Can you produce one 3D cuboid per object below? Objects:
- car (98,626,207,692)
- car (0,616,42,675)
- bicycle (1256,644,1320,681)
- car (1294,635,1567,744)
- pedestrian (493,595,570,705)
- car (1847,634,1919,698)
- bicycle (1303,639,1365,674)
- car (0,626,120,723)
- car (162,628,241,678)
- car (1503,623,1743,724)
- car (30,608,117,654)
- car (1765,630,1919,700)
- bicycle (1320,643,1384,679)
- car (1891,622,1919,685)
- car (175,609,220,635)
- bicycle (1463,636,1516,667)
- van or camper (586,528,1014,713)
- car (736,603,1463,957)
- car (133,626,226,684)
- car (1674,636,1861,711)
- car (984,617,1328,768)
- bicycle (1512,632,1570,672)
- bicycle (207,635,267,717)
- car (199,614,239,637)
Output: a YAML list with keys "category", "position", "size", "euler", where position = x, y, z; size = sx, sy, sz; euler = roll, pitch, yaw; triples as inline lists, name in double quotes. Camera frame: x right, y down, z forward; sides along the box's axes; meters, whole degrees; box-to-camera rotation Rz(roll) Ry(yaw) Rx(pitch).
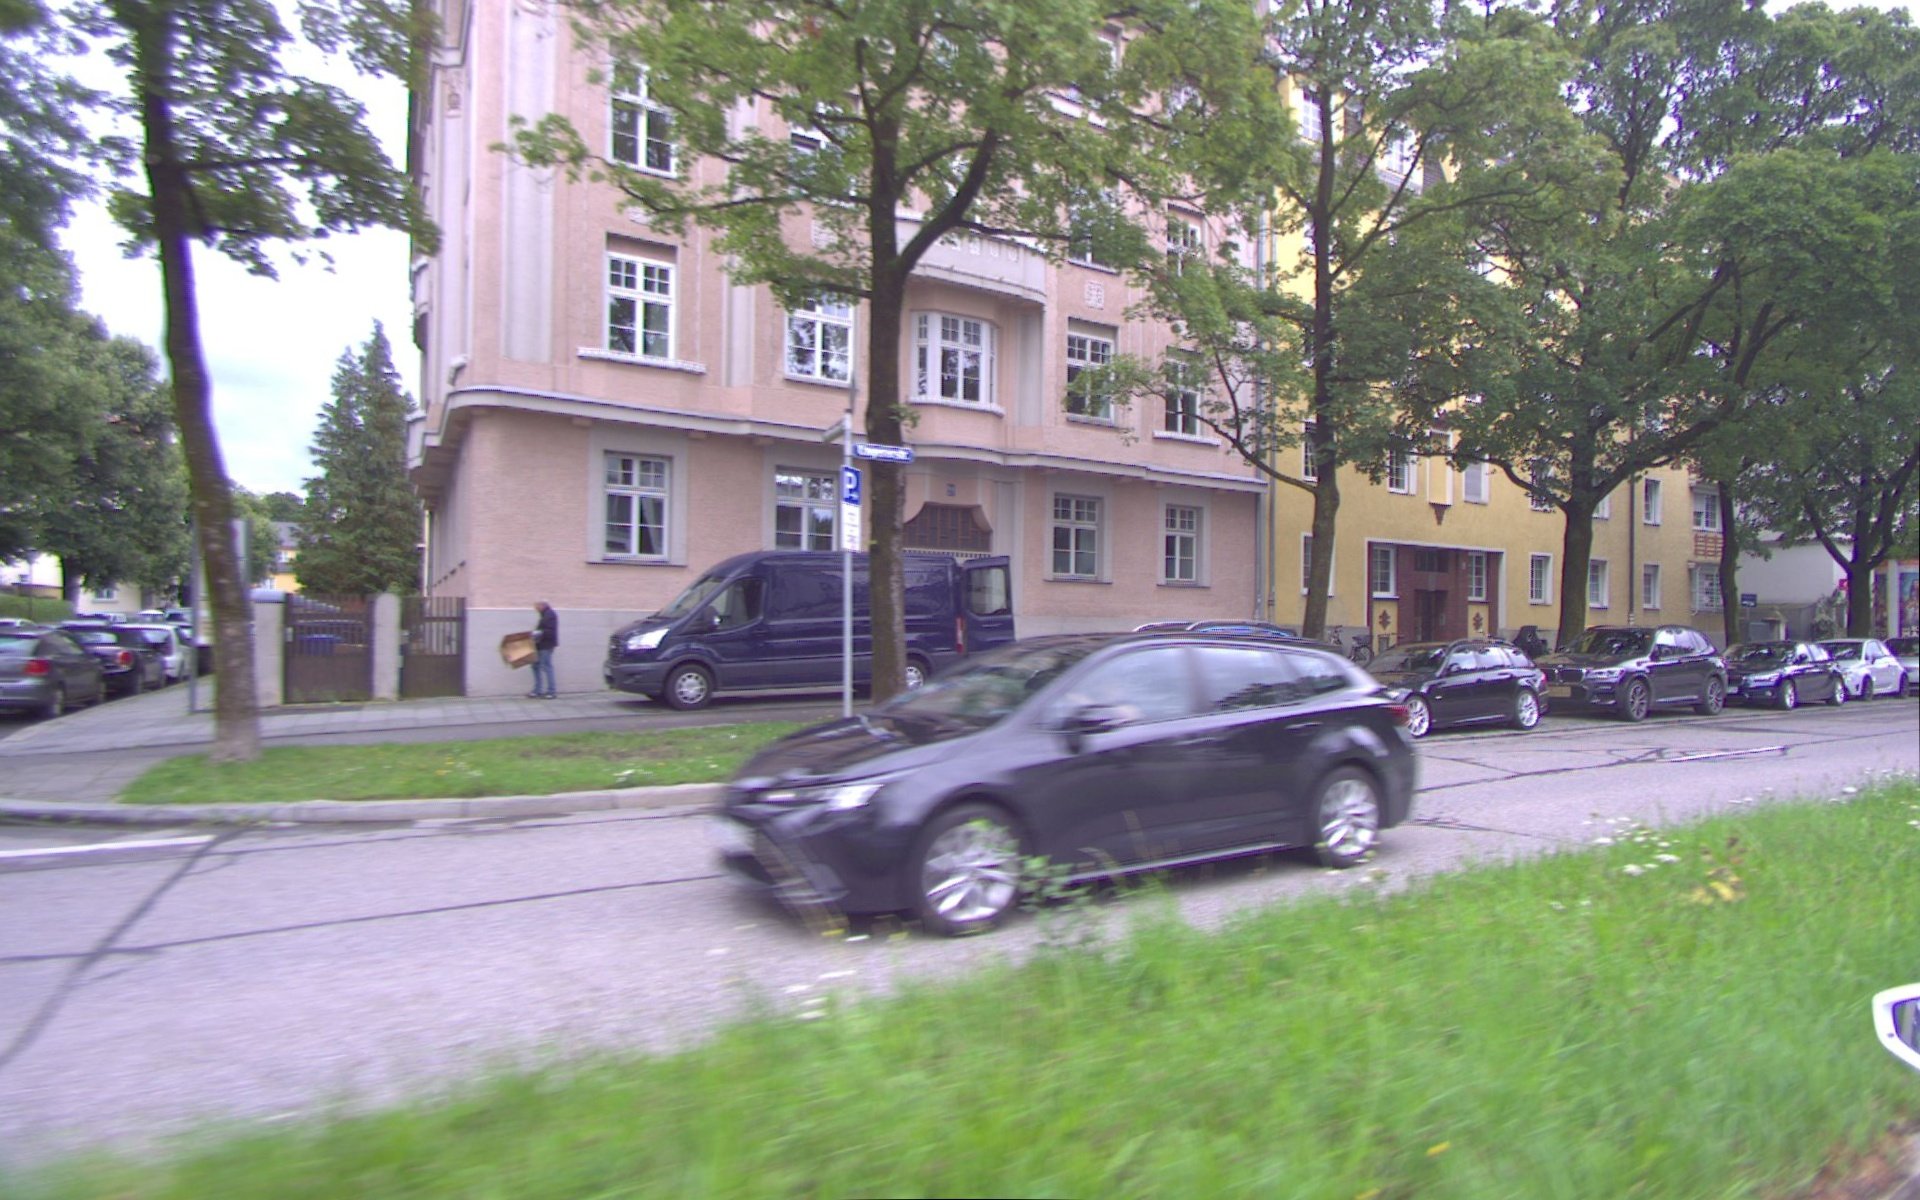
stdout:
- category: "car"
  position: [-19.805, 1.396, 24.759]
  size: [1.595, 1.470, 3.498]
  euler: [1, -1, -31]
- category: "car"
  position: [-29.228, 1.308, 30.060]
  size: [1.775, 1.669, 3.967]
  euler: [1, -1, -31]
- category: "bicycle"
  position: [8.654, 1.633, 26.498]
  size: [1.908, 0.911, 0.481]
  euler: [1, -1, -31]
- category: "car"
  position: [7.447, 1.302, 15.771]
  size: [4.440, 1.474, 1.684]
  euler: [1, -1, -30]
- category: "pedestrian"
  position: [-7.019, 0.804, 16.446]
  size: [1.070, 1.733, 0.745]
  euler: [1, -1, -30]
- category: "car"
  position: [25.055, 1.709, 26.525]
  size: [2.977, 1.578, 1.717]
  euler: [1, -1, -32]
- category: "bicycle"
  position: [10.281, 1.543, 27.593]
  size: [1.908, 0.911, 0.539]
  euler: [1, -1, -31]
- category: "car"
  position: [-15.253, 1.141, 16.303]
  size: [1.890, 1.389, 3.677]
  euler: [1, -1, -31]
- category: "car"
  position: [-24.485, 1.678, 32.532]
  size: [1.636, 1.470, 3.498]
  euler: [1, -1, -31]
- category: "car"
  position: [12.426, 1.292, 18.748]
  size: [4.714, 1.667, 1.870]
  euler: [1, -1, -30]
- category: "car"
  position: [-33.974, 1.156, 38.608]
  size: [1.775, 1.669, 3.967]
  euler: [1, -1, -31]
- category: "car"
  position: [21.741, 1.549, 24.718]
  size: [4.009, 1.582, 1.718]
  euler: [1, -1, -30]
- category: "bicycle"
  position: [10.574, 1.629, 27.070]
  size: [1.908, 0.911, 0.539]
  euler: [1, -1, -31]
- category: "car"
  position: [28.740, 1.511, 28.735]
  size: [4.711, 1.751, 1.802]
  euler: [1, -1, -30]
- category: "car"
  position: [-46.598, 1.339, 61.457]
  size: [1.775, 1.504, 3.967]
  euler: [1, -1, -31]
- category: "bicycle"
  position: [16.441, 1.587, 31.157]
  size: [1.908, 0.911, 0.539]
  euler: [1, -1, -31]
- category: "van or camper"
  position: [-2.542, 0.361, 16.951]
  size: [6.771, 2.613, 2.334]
  euler: [1, -1, -31]
- category: "car"
  position: [0.963, 0.864, 6.224]
  size: [4.272, 1.526, 1.803]
  euler: [1, -4, -30]
- category: "car"
  position: [-21.935, 1.496, 28.361]
  size: [1.636, 1.470, 3.498]
  euler: [1, -1, -31]
- category: "car"
  position: [17.382, 1.512, 21.579]
  size: [4.312, 1.424, 1.718]
  euler: [1, -1, -30]
- category: "car"
  position: [2.664, 1.111, 13.388]
  size: [4.386, 1.709, 1.865]
  euler: [1, -1, -30]
- category: "bicycle"
  position: [18.548, 1.633, 32.048]
  size: [1.908, 1.238, 0.766]
  euler: [1, -1, -31]
- category: "bicycle"
  position: [-12.260, 1.226, 17.104]
  size: [0.513, 1.191, 3.530]
  euler: [1, -1, -31]
- category: "car"
  position: [-51.257, 1.748, 69.538]
  size: [1.775, 1.504, 3.967]
  euler: [1, -1, -31]
